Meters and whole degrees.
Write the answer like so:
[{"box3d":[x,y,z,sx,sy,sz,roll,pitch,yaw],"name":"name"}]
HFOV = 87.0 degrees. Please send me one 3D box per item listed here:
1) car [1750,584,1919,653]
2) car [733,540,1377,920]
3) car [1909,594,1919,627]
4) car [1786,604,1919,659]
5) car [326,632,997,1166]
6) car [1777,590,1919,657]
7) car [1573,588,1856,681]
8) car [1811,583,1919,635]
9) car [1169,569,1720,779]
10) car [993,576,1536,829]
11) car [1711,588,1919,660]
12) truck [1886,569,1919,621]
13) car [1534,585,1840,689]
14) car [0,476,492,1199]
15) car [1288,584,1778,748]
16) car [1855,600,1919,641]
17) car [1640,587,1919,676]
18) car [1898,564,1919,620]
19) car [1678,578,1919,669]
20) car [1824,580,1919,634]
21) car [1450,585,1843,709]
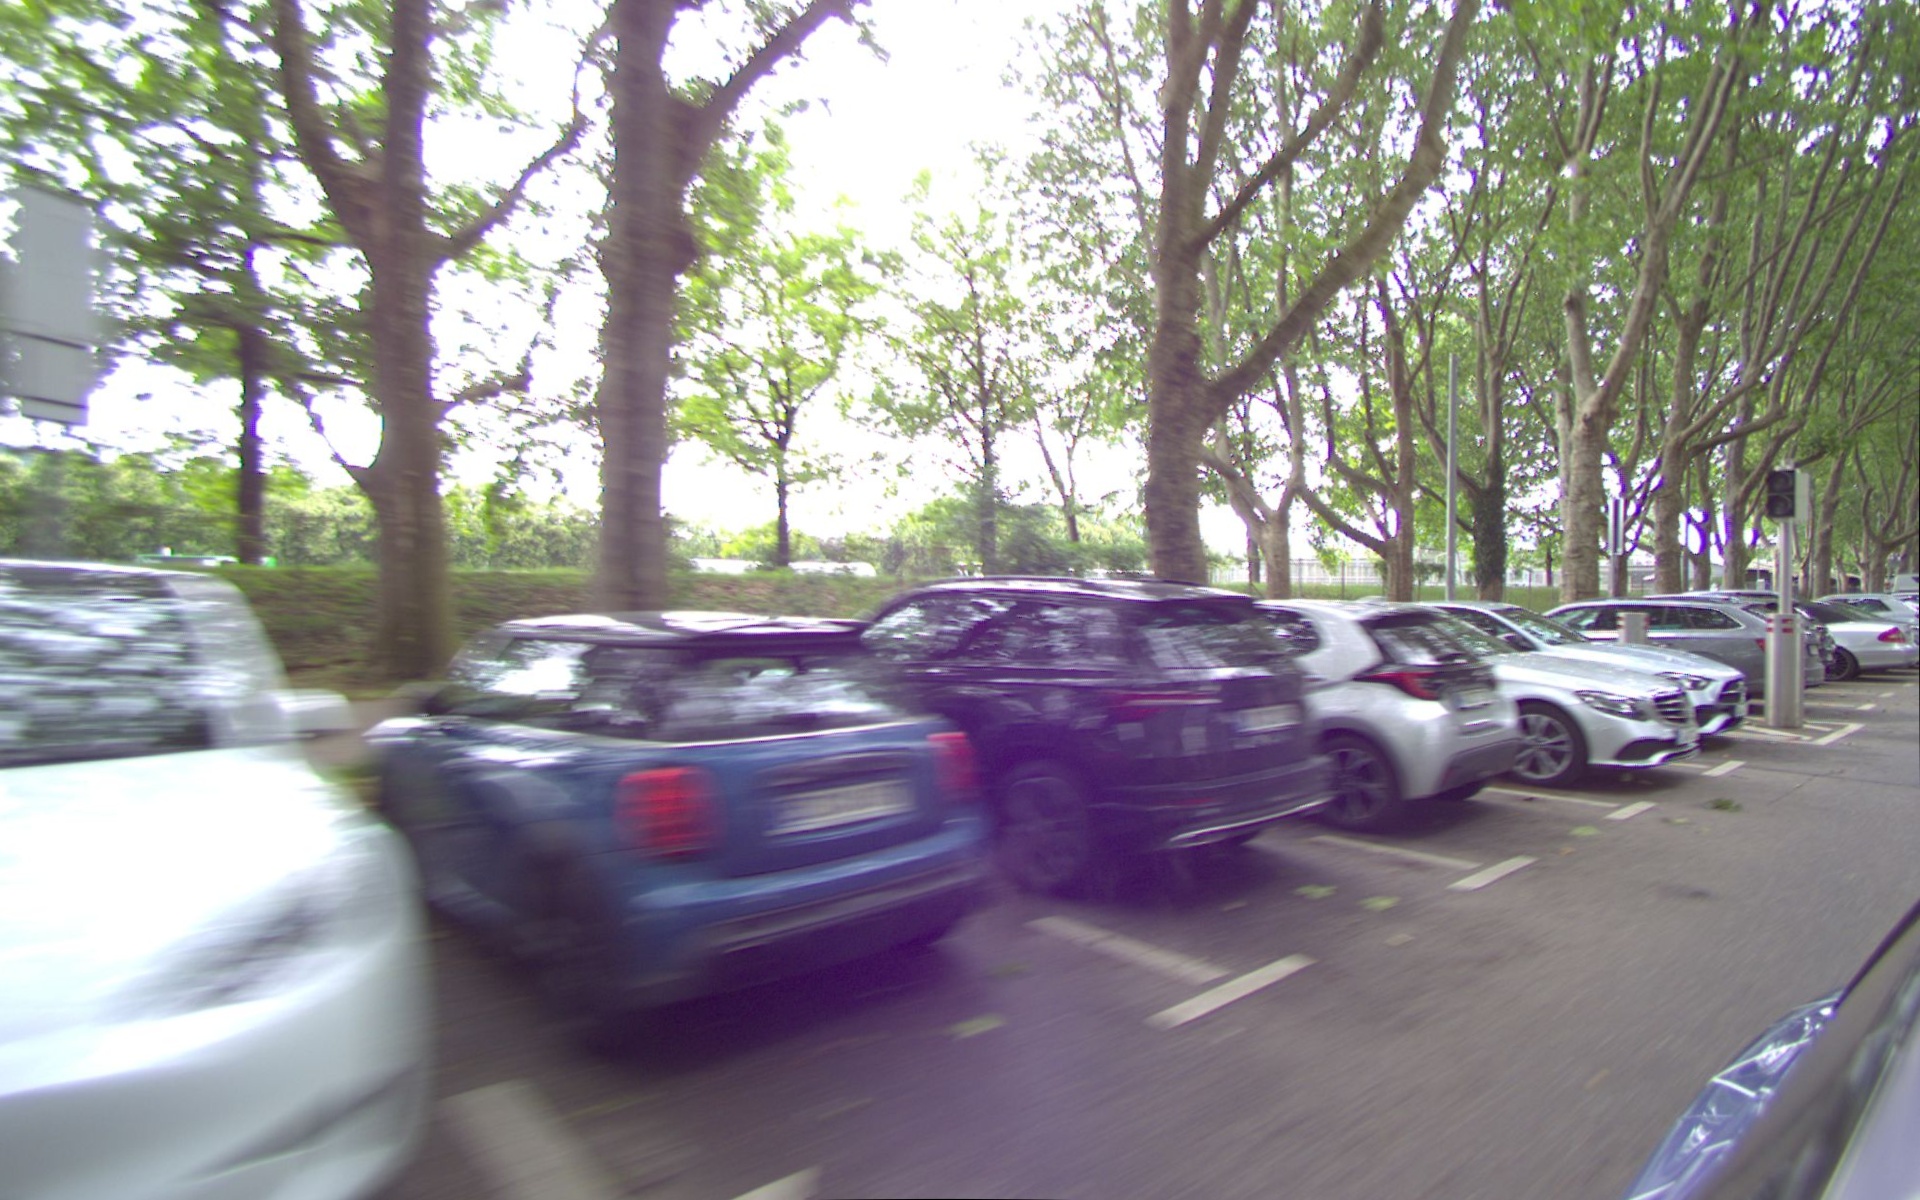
[{"box3d":[22.556,0.442,25.600,1.665,1.628,3.832,0,-1,-42],"name":"car"},{"box3d":[0.350,0.562,6.313,1.790,1.618,3.778,0,-1,-43],"name":"car"},{"box3d":[44.920,0.392,44.686,1.672,1.447,4.128,0,-2,-38],"name":"car"},{"box3d":[24.782,0.808,27.176,1.665,1.406,3.832,0,-1,-42],"name":"car"},{"box3d":[-1.645,0.889,4.677,1.494,1.389,3.648,0,-1,-43],"name":"car"},{"box3d":[21.430,0.521,23.224,1.660,1.474,3.843,0,0,-29],"name":"car"},{"box3d":[13.334,0.555,18.073,1.594,1.488,3.784,0,0,-39],"name":"car"},{"box3d":[28.253,0.270,30.367,1.665,1.505,3.992,0,-1,-42],"name":"car"},{"box3d":[4.178,0.536,9.310,1.597,1.488,4.300,0,-1,-43],"name":"car"},{"box3d":[2.155,0.611,7.900,1.597,1.488,3.778,0,-1,-43],"name":"car"},{"box3d":[19.164,0.492,22.088,1.583,1.470,4.217,0,-1,-42],"name":"car"},{"box3d":[52.088,-0.265,52.055,2.060,2.750,6.307,0,-1,-39],"name":"truck"},{"box3d":[11.708,0.535,16.490,1.638,1.488,3.782,0,-1,-41],"name":"car"},{"box3d":[-2.925,0.649,2.698,1.824,1.616,4.170,0,-1,-43],"name":"car"},{"box3d":[6.226,0.613,11.578,1.619,1.488,4.626,0,0,-37],"name":"car"},{"box3d":[37.098,0.780,38.424,1.674,1.545,4.507,0,-1,-42],"name":"car"},{"box3d":[15.392,0.538,18.965,1.664,1.488,4.120,0,0,-40],"name":"car"},{"box3d":[48.547,-0.435,48.354,1.922,2.724,5.238,0,-1,-39],"name":"car"},{"box3d":[17.391,0.447,20.695,1.664,1.691,4.121,0,-1,-40],"name":"car"},{"box3d":[32.241,0.237,34.164,1.768,1.777,4.395,0,-1,-38],"name":"car"},{"box3d":[9.521,0.580,14.362,1.595,1.488,4.373,0,-1,-41],"name":"car"}]
